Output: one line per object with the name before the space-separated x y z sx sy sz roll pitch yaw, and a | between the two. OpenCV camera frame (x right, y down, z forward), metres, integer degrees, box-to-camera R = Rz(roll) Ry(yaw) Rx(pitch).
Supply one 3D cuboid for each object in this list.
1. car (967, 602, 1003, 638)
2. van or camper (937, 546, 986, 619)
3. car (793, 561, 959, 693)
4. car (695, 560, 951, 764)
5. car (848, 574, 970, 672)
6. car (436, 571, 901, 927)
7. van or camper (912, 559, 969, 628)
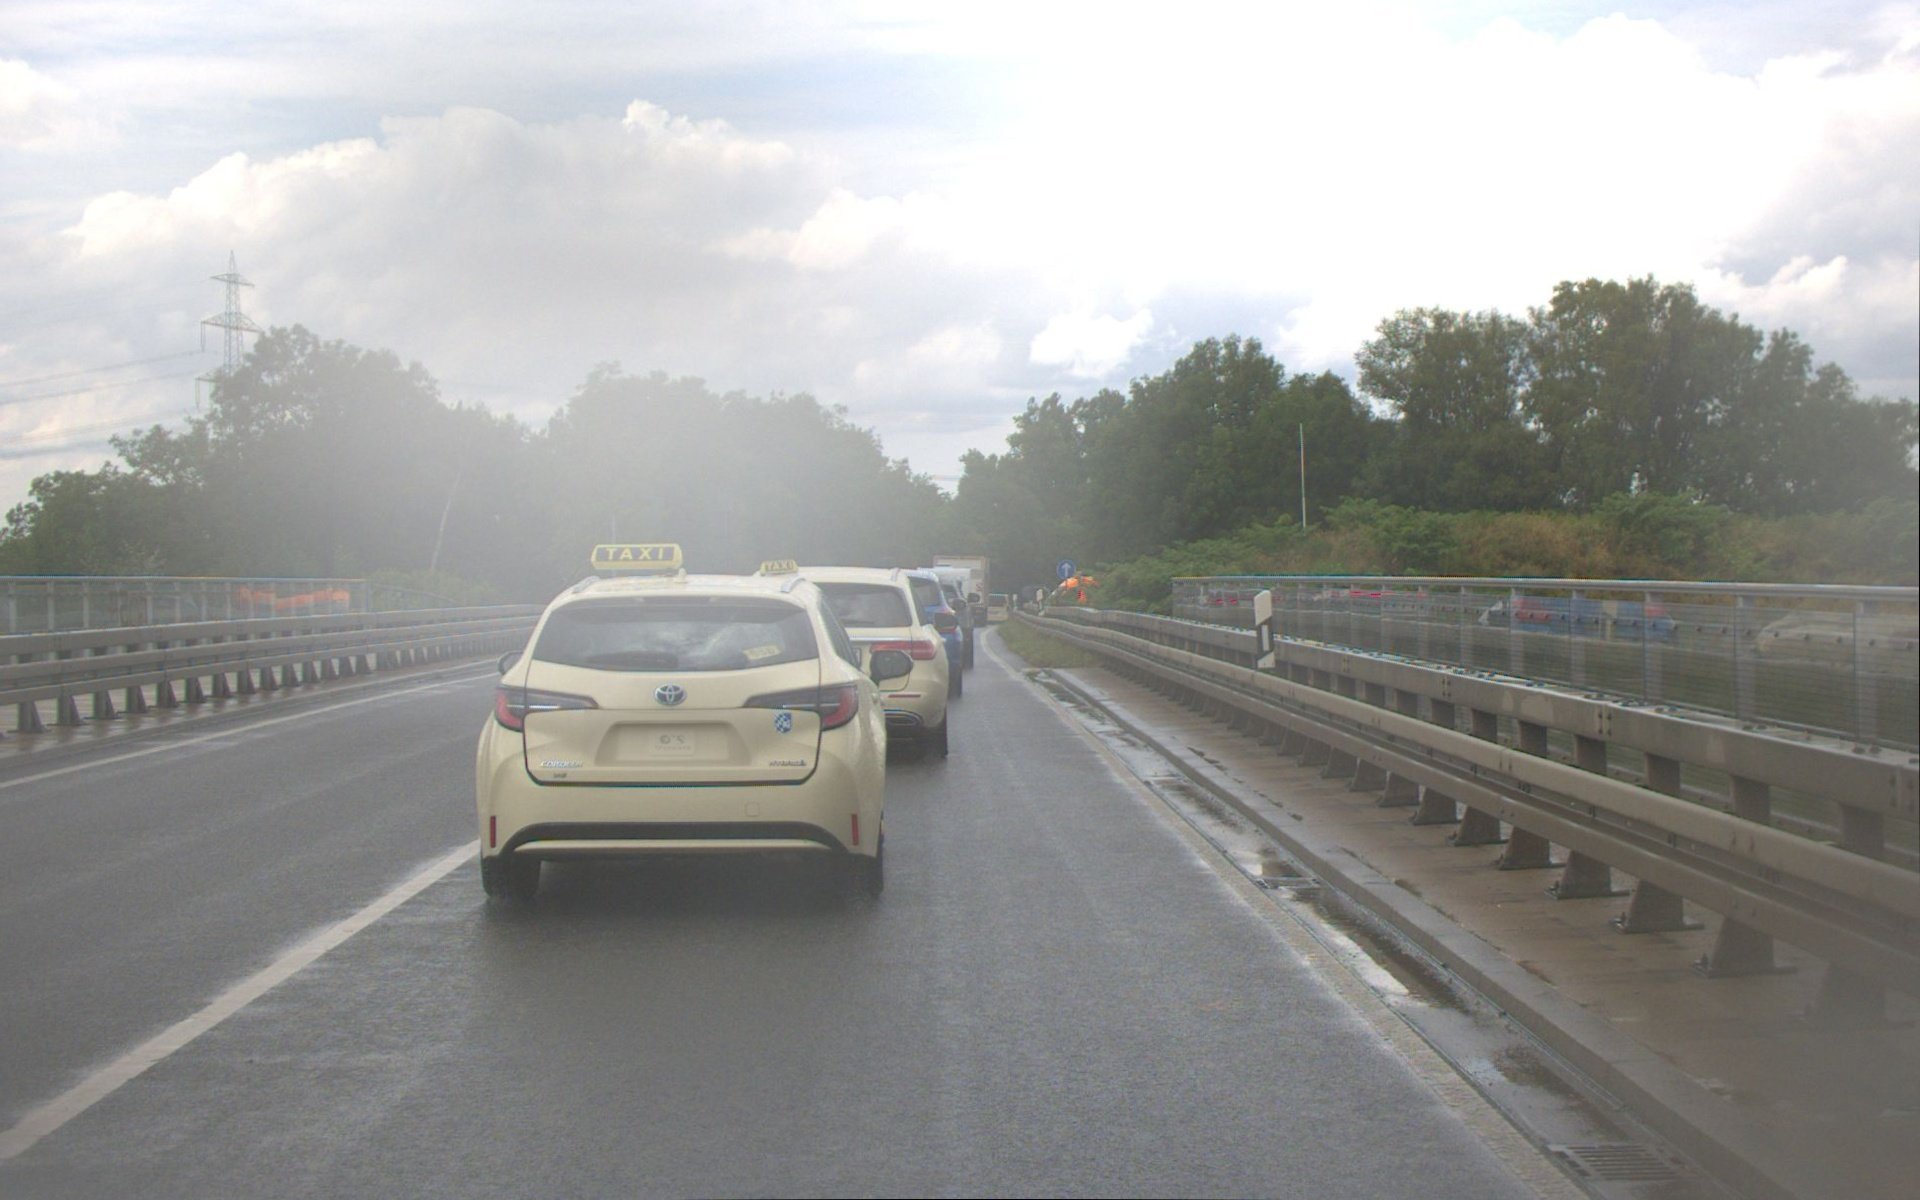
car | 1.464 1.172 202.910 1.993 2.007 4.000 1 1 -1
van or camper | 0.069 -0.889 173.353 2.332 3.550 6.307 1 0 -1
car | -0.979 0.284 41.063 1.854 1.438 4.171 1 1 -1
car | -1.031 0.433 27.262 1.854 1.438 4.171 1 1 -1
car | -0.805 0.342 55.007 1.854 1.438 4.171 1 1 -1
car | -1.227 0.591 16.111 1.854 1.389 4.171 1 1 -1
van or camper | -0.842 -0.298 146.764 2.332 2.854 6.307 1 1 -1
